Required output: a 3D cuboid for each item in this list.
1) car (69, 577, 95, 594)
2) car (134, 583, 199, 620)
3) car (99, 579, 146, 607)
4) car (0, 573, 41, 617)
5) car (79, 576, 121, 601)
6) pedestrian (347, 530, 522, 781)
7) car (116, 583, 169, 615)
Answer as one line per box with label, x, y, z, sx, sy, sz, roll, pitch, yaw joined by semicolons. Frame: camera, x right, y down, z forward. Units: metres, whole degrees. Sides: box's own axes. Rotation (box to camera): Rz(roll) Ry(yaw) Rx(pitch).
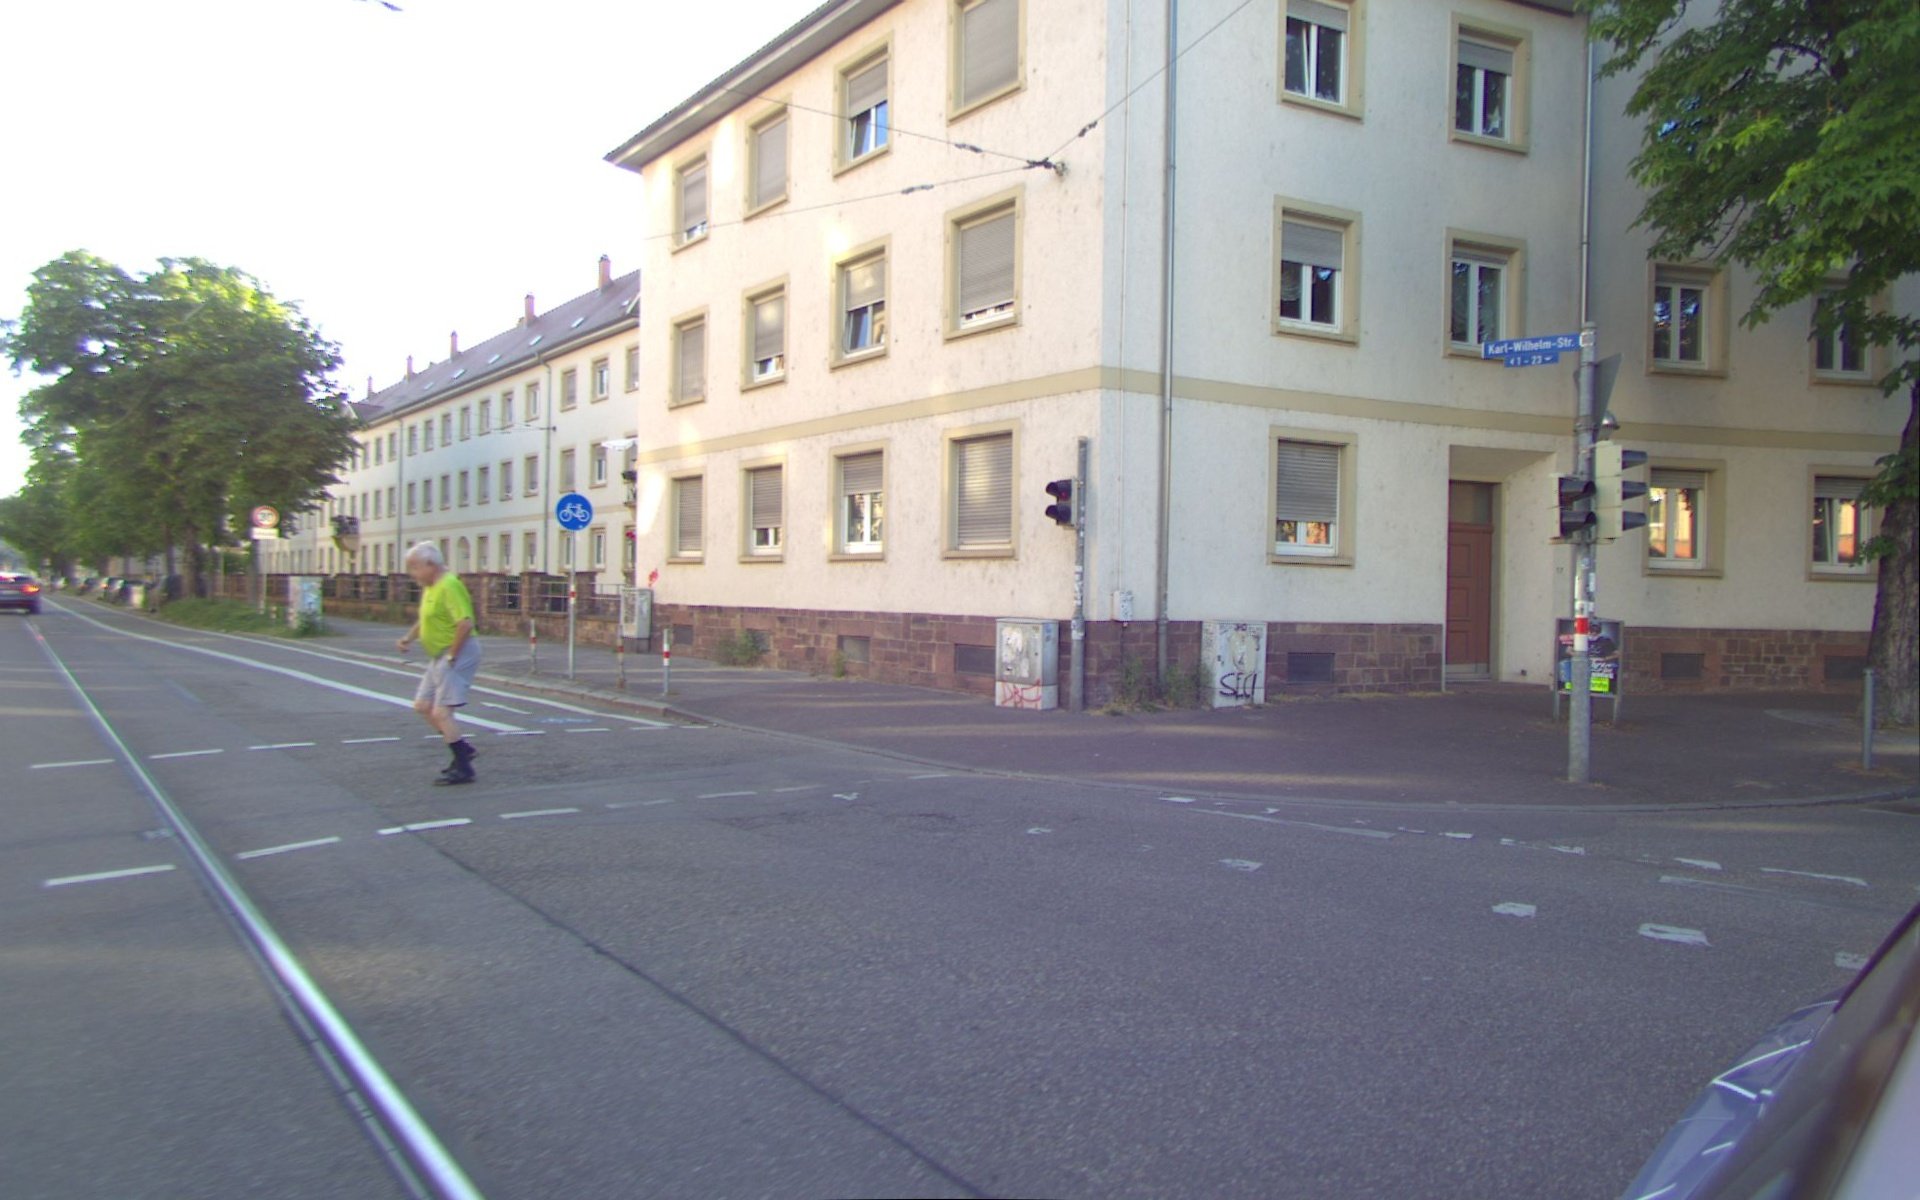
car;-68.701;-1.146;79.154;1.420;1.264;3.307;1;0;-43
car;-33.242;0.033;42.365;3.822;1.458;1.529;1;0;43
car;-47.544;-0.411;57.430;3.877;1.557;1.575;1;0;43
car;-36.623;-0.210;38.663;4.460;1.605;1.945;1;1;44
car;-54.729;-0.723;64.358;3.877;1.557;1.575;1;0;43
pedestrian;-3.876;0.402;7.525;0.872;1.750;0.644;2;-2;1
car;-42.336;-0.076;52.369;3.877;1.557;1.575;1;0;43
